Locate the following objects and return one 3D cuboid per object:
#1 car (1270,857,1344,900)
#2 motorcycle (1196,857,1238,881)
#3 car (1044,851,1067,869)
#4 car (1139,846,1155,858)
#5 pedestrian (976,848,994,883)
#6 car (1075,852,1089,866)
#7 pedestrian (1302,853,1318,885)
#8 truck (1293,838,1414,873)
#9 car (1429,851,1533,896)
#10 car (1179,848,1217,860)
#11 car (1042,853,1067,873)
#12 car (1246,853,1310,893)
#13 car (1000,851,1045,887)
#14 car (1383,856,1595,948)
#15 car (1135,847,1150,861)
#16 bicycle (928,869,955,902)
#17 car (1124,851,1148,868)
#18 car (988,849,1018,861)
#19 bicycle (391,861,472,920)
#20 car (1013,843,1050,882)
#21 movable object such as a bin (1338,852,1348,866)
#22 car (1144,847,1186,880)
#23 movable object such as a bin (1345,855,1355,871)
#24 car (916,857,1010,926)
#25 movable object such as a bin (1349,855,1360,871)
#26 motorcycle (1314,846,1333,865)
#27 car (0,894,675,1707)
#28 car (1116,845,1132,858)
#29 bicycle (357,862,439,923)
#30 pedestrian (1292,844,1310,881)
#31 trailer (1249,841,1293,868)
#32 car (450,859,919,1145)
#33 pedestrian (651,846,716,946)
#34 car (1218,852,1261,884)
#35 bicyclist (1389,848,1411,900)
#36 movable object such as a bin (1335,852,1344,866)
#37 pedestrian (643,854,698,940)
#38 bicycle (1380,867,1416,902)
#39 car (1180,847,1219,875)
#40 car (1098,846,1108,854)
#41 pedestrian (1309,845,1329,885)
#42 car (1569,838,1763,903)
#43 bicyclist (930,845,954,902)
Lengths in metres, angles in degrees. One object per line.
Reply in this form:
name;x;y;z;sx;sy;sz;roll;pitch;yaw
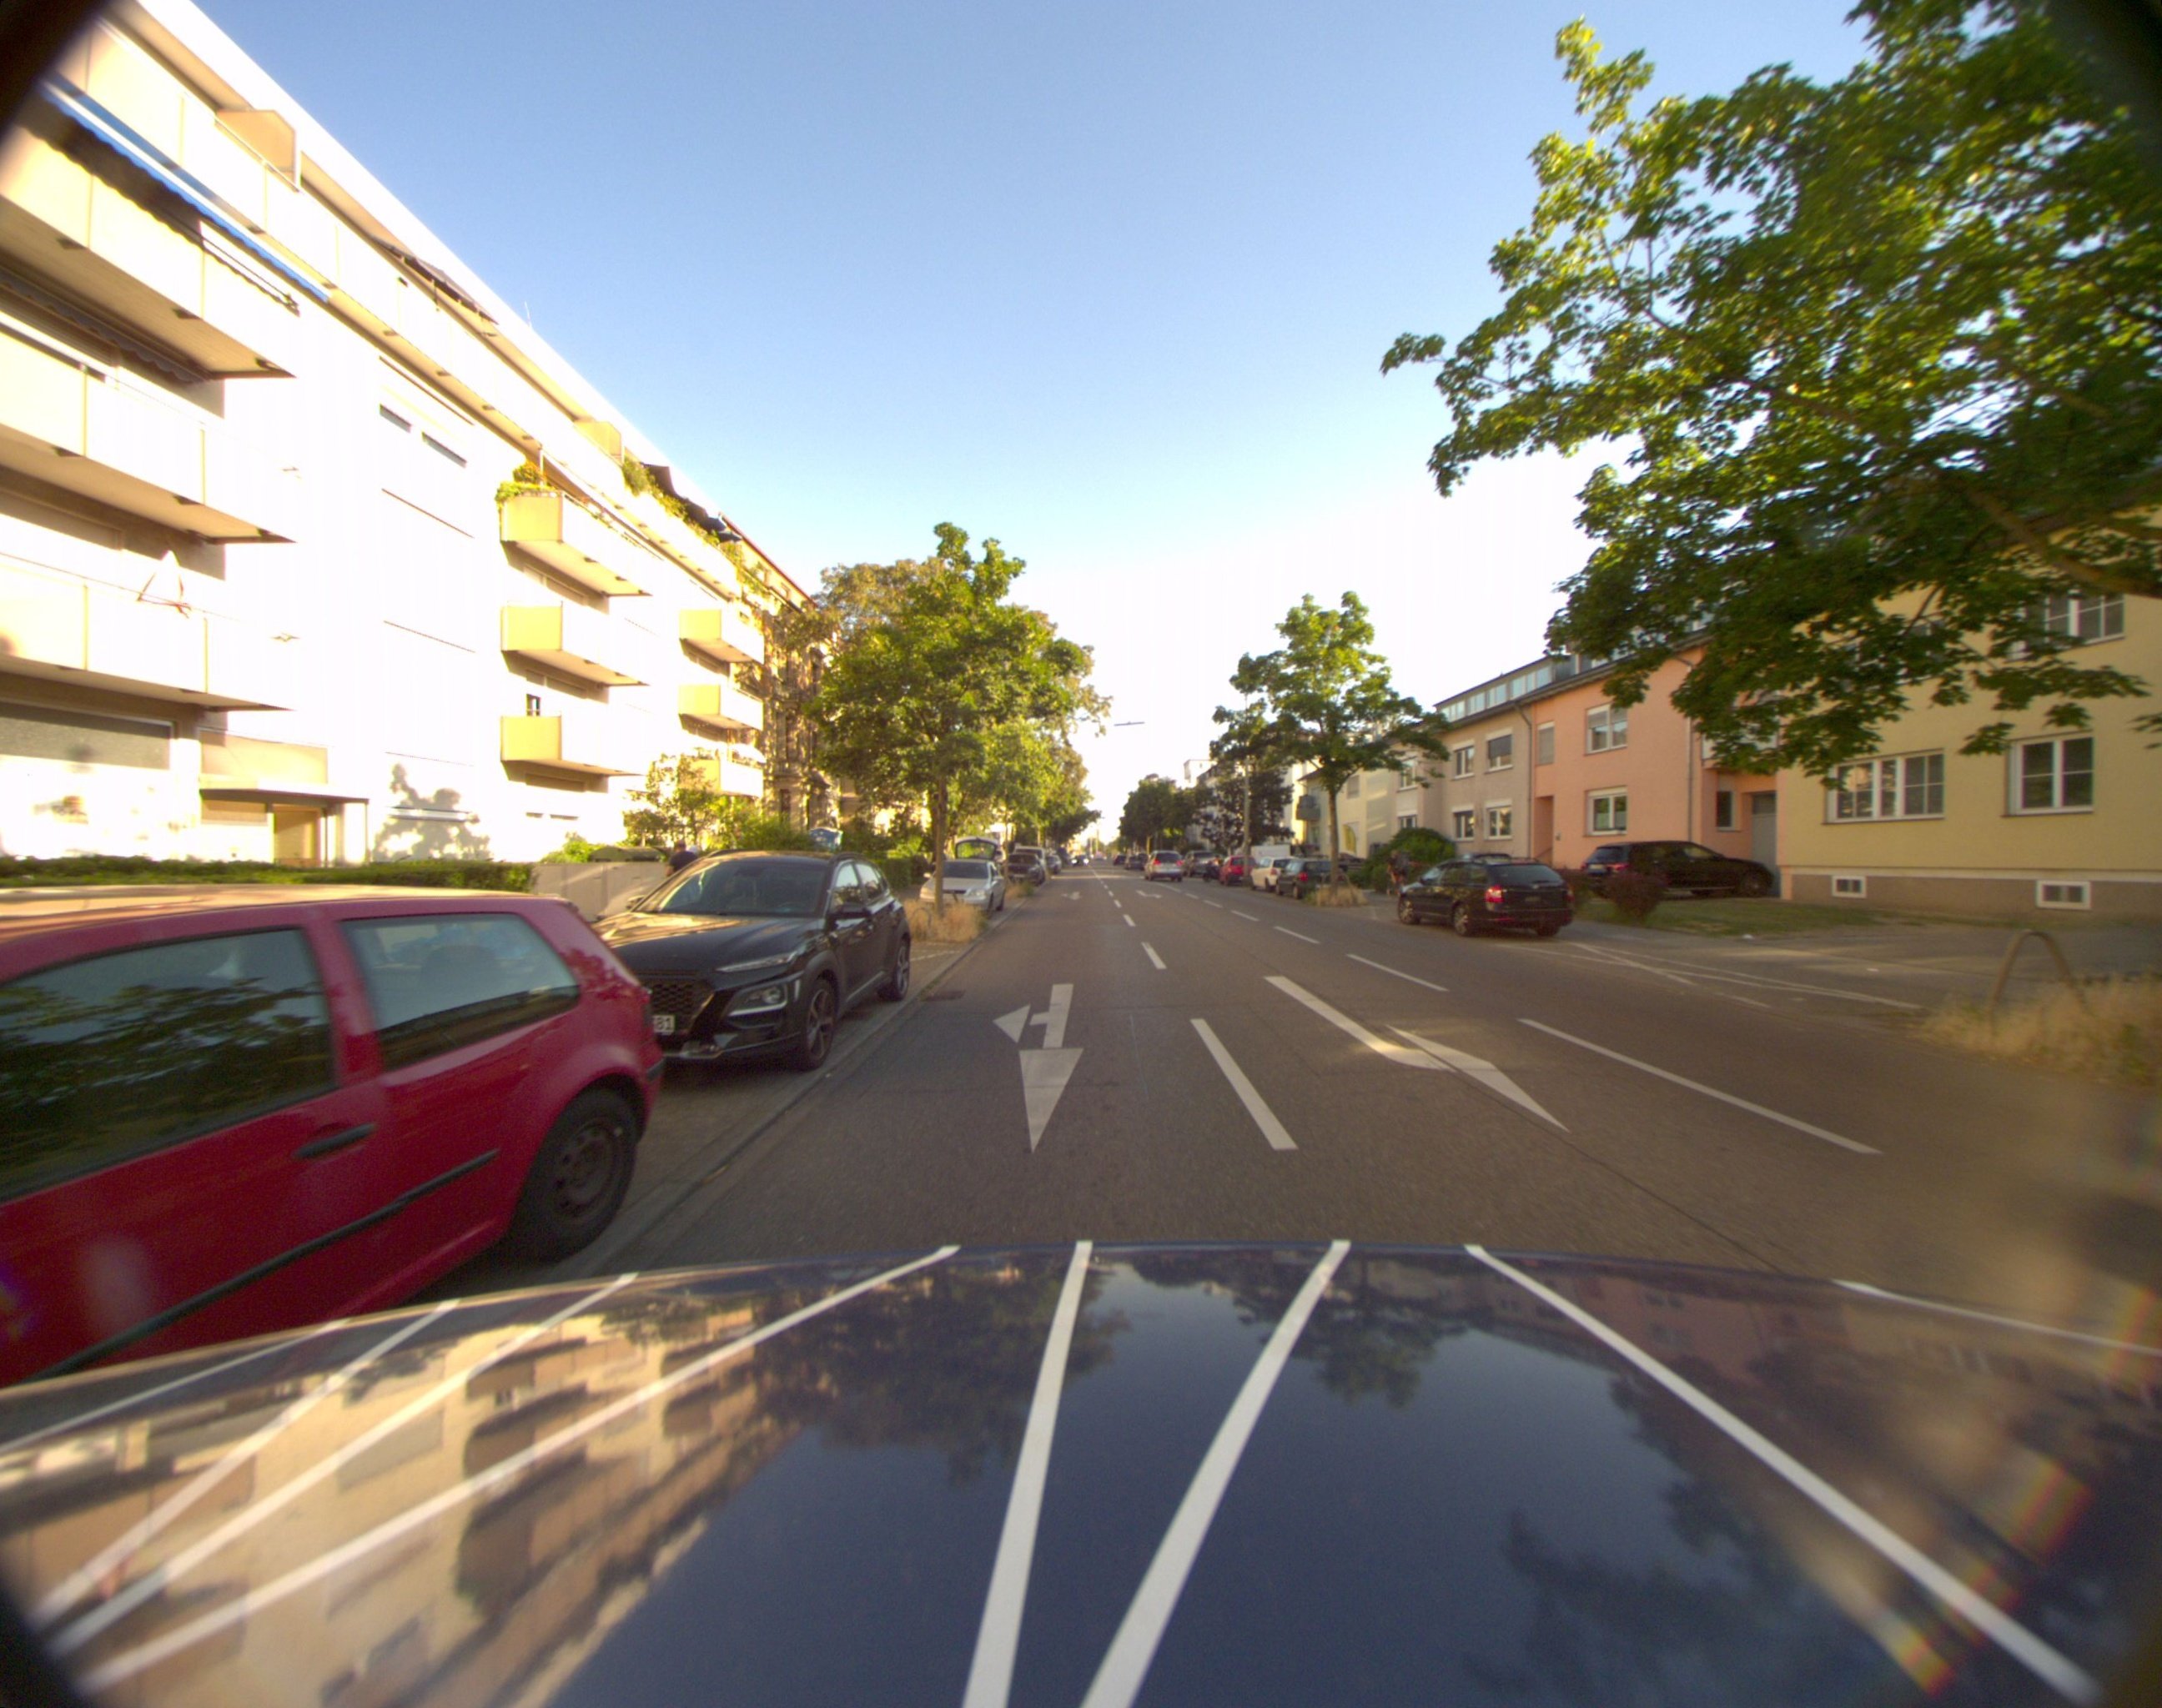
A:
car;8.011;0.835;27.197;1.547;1.388;3.665;0;0;0
motorcycle;7.509;0.821;42.132;1.184;1.259;2.365;0;1;-24
car;-2.245;0.514;67.235;1.826;1.469;4.621;0;0;0
car;8.128;-0.217;94.017;1.740;1.455;3.636;0;0;0
pedestrian;-4.870;0.594;38.682;0.823;1.763;1.088;0;1;-4
car;0.106;0.612;92.899;1.596;1.696;3.999;0;0;0
pedestrian;10.698;0.701;35.570;0.591;1.487;0.542;0;1;3
truck;17.229;0.069;48.305;6.912;2.172;2.276;0;1;0
car;13.622;0.617;26.119;1.669;1.401;3.753;1;0;2
car;15.274;-0.061;99.433;4.564;1.397;1.739;-2;1;-10
car;-2.018;0.636;58.549;1.762;1.412;4.614;2;0;0
car;8.190;0.745;31.876;1.597;1.514;3.890;0;0;-1
car;-2.811;0.680;37.592;1.860;1.594;4.310;2;0;0
car;7.928;0.838;15.347;1.872;1.486;4.517;-2;0;0
car;8.150;0.033;100.966;1.740;1.799;4.191;0;0;0
bicycle;-4.405;0.973;24.099;0.517;0.981;1.831;0;0;0
car;5.205;0.498;72.163;1.765;1.443;4.533;2;0;-1
car;-10.245;0.126;100.352;3.878;1.496;1.575;0;1;-5
bicycle;-13.423;0.723;15.688;2.199;1.133;0.519;0;1;29
car;-2.794;0.459;43.576;1.908;2.091;4.639;0;0;-2
movable object such as a bin;18.077;0.345;52.419;0.504;1.013;0.450;0;1;-1
car;4.797;0.499;44.032;1.810;1.794;4.745;2;0;0
movable object such as a bin;18.073;0.599;50.990;0.504;1.013;0.450;0;1;-1
car;-2.871;0.850;19.392;1.712;1.472;4.267;2;0;0
movable object such as a bin;18.115;0.602;50.343;0.504;1.013;0.450;0;1;-1
motorcycle;17.381;0.110;54.505;0.572;1.366;2.258;1;1;0
car;-2.841;0.939;1.471;1.707;1.441;4.014;2;0;4
car;5.799;-0.330;102.438;1.840;1.561;3.999;2;1;0
bicycle;-13.567;0.732;15.073;2.199;1.133;0.519;0;1;29
pedestrian;10.645;0.416;36.770;0.715;1.782;0.506;0;1;3
trailer;14.031;0.039;56.238;2.780;2.002;1.552;0;1;-2
car;-2.739;0.882;6.437;1.860;1.572;4.013;2;0;0
pedestrian;-6.735;0.678;12.886;0.694;1.630;0.759;1;1;38
car;7.871;0.668;38.006;1.596;1.514;3.436;0;0;3
bicyclist;10.149;0.628;24.165;0.470;1.653;0.552;0;1;-1
movable object such as a bin;18.024;0.343;52.950;0.504;1.013;0.450;0;1;-1
pedestrian;-7.577;0.774;14.024;0.592;1.531;0.697;1;1;37
bicycle;10.083;0.951;24.231;0.487;1.058;1.534;0;1;0
car;8.081;0.444;52.188;1.892;1.769;4.725;0;0;-1
car;4.999;-0.874;174.055;1.893;1.793;4.430;2;0;-2
pedestrian;10.727;0.498;34.261;0.715;1.782;0.572;0;1;3
car;16.399;0.443;21.462;3.997;1.626;1.866;-2;1;1
bicyclist;-4.397;0.606;24.051;0.582;1.778;0.852;0;1;0
